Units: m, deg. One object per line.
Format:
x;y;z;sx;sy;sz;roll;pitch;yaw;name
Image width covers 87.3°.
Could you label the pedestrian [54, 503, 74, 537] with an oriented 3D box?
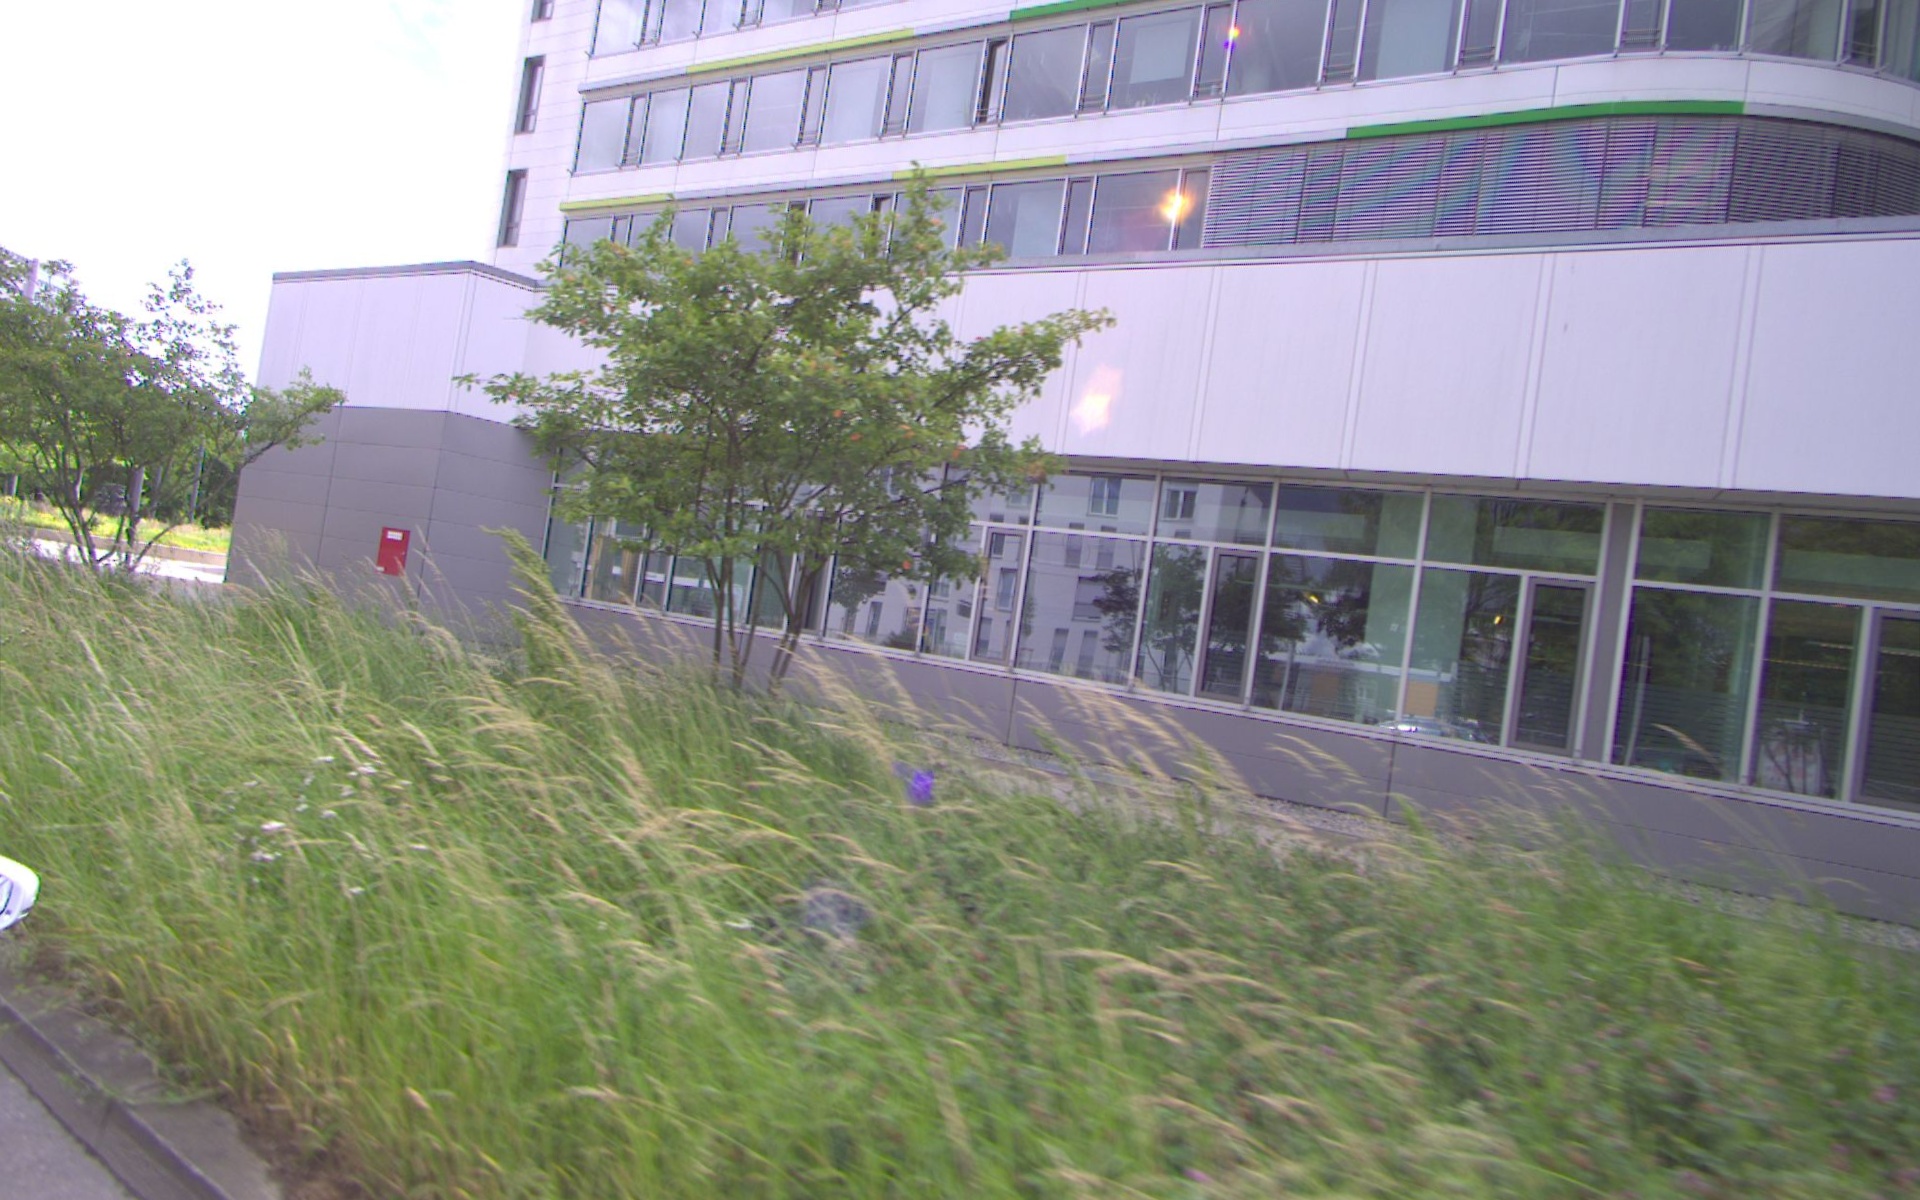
-54.506;-4.852;61.196;0.399;1.973;0.577;7;-1;29;pedestrian
